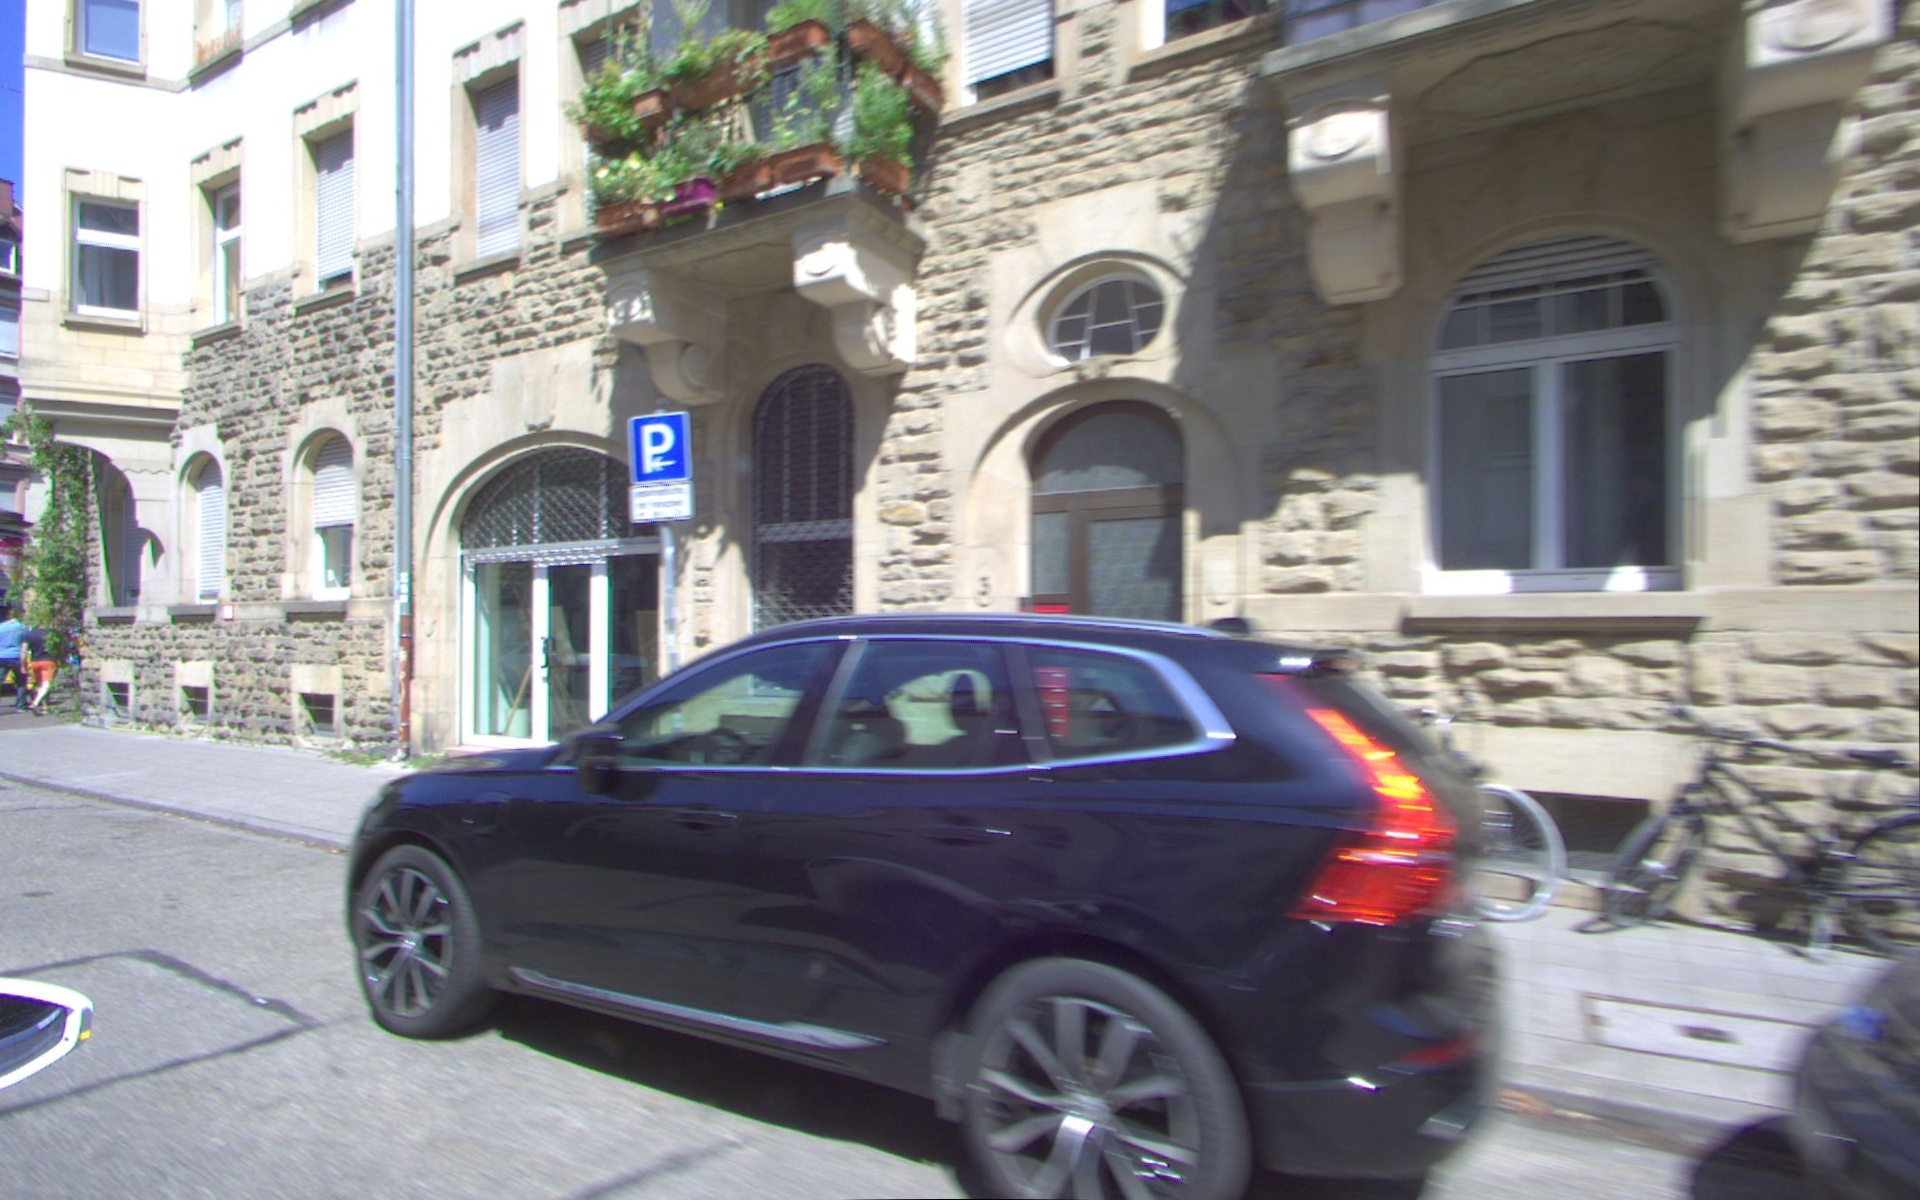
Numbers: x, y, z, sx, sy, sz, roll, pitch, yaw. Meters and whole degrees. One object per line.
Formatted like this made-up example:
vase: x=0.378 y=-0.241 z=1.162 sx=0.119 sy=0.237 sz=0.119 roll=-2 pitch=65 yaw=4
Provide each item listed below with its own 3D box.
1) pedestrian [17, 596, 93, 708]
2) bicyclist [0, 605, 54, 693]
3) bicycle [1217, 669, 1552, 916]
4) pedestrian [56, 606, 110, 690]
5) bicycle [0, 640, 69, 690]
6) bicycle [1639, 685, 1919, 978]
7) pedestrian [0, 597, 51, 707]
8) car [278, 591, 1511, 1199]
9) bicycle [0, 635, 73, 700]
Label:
pedestrian: x=-15.746 y=0.899 z=17.446 sx=0.590 sy=1.904 sz=0.882 roll=0 pitch=-1 yaw=-10
bicyclist: x=-18.216 y=0.947 z=19.546 sx=0.670 sy=1.669 sz=0.658 roll=0 pitch=0 yaw=-32
bicycle: x=2.413 y=1.037 z=5.809 sx=1.750 sy=1.223 sz=0.383 roll=-1 pitch=-1 yaw=33
pedestrian: x=-19.183 y=1.037 z=21.912 sx=0.572 sy=1.817 sz=0.749 roll=0 pitch=0 yaw=-8
bicycle: x=-21.209 y=1.449 z=22.347 sx=0.624 sy=1.052 sz=1.897 roll=-1 pitch=-1 yaw=31
bicycle: x=4.199 y=1.040 z=4.609 sx=1.750 sy=1.223 sz=0.440 roll=-1 pitch=-1 yaw=33
pedestrian: x=-16.397 y=0.898 z=17.456 sx=0.510 sy=1.892 sz=0.653 roll=0 pitch=-1 yaw=-5
car: x=-0.440 y=0.859 z=3.908 sx=4.536 sy=1.586 sz=1.832 roll=-1 pitch=-4 yaw=30
bicycle: x=-18.251 y=1.295 z=19.724 sx=0.786 sy=1.184 sz=2.563 roll=0 pitch=-1 yaw=-33
